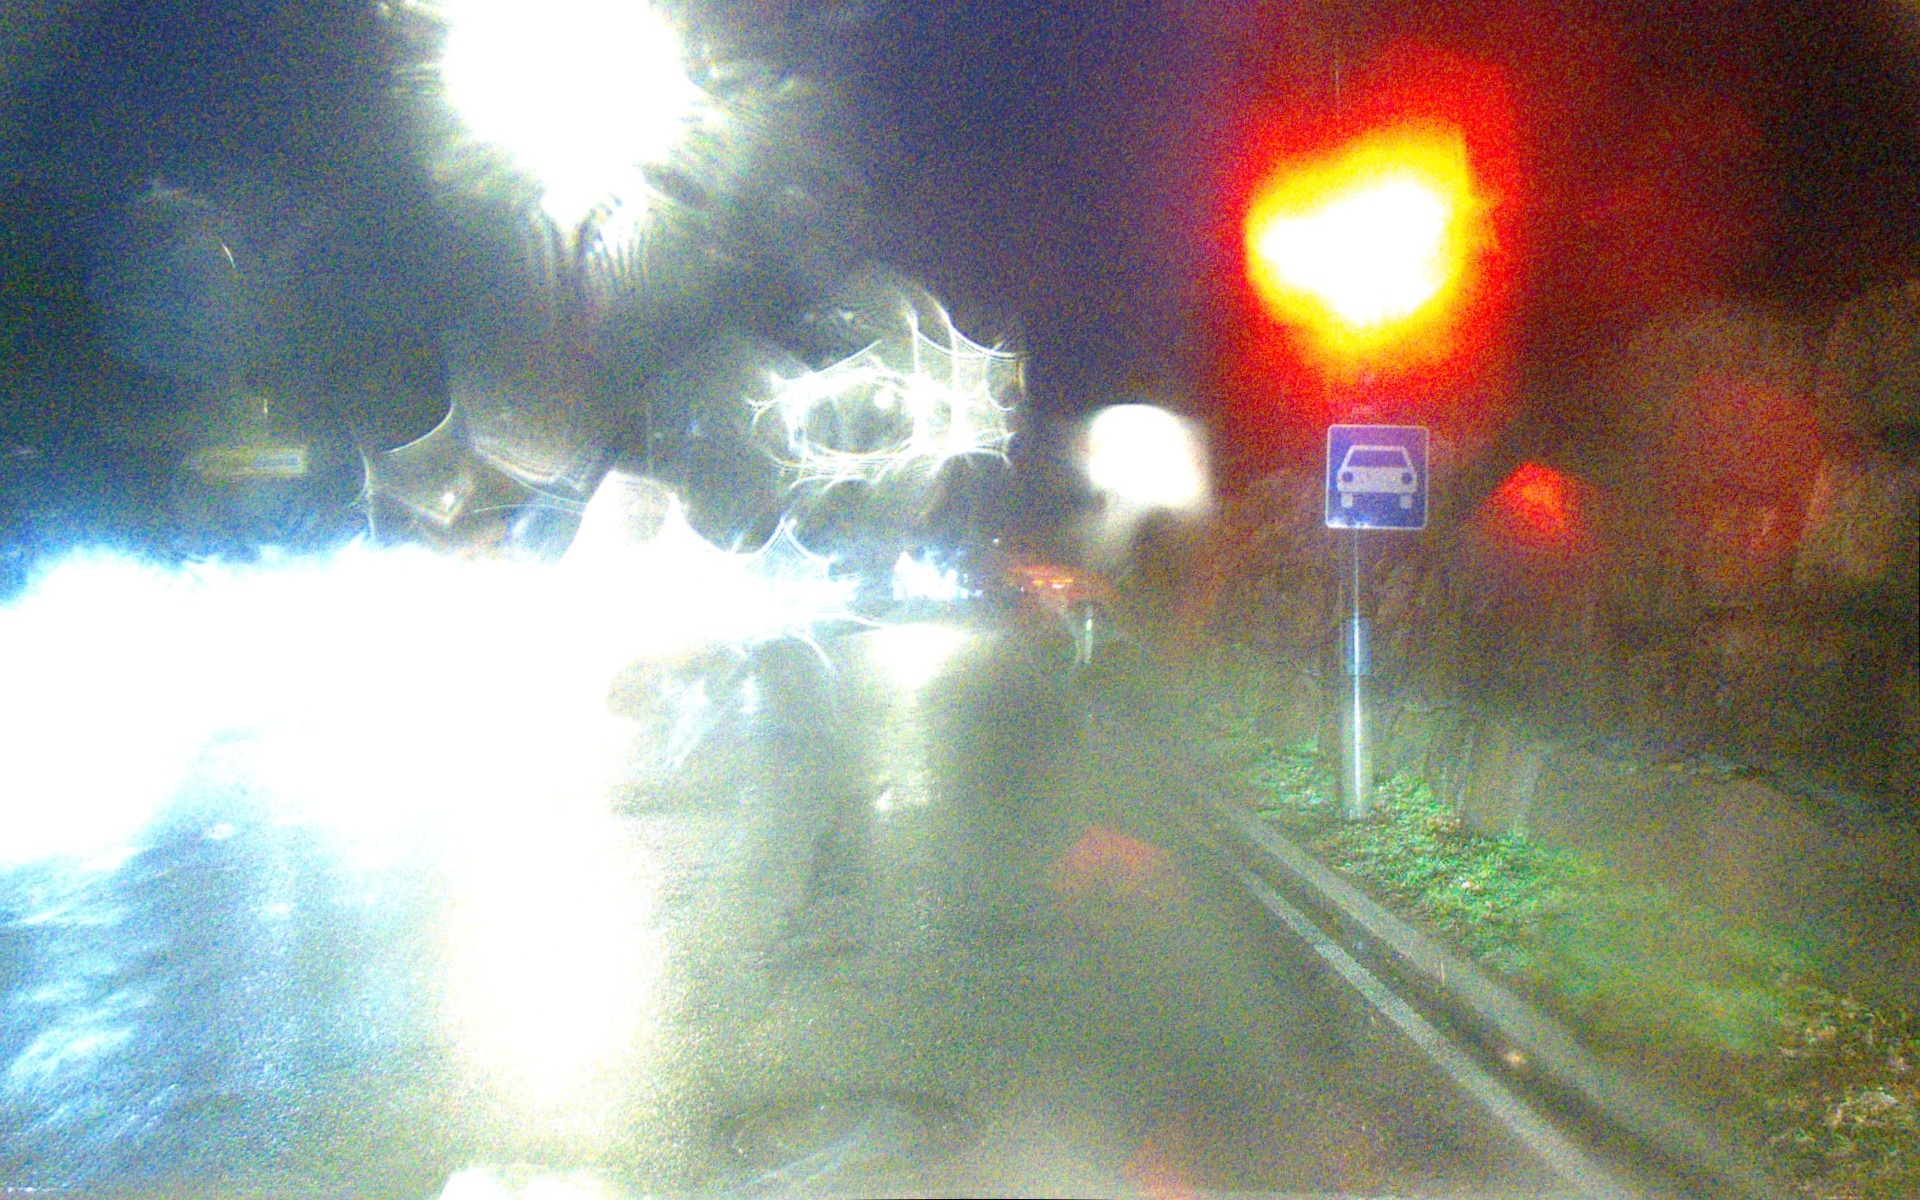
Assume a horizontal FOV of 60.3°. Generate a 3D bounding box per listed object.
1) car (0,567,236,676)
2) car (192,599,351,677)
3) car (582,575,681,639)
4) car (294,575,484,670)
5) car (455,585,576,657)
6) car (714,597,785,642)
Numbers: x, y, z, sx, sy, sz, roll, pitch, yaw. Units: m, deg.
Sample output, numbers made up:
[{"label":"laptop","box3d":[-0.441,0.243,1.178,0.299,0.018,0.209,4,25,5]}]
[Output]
[{"label":"car","box3d":[-13.664,0.303,26.766,1.755,1.599,4.913,0,0,-1]},{"label":"car","box3d":[-13.822,0.755,33.434,1.634,1.479,3.727,0,-1,0]},{"label":"car","box3d":[-9.287,0.199,47.098,1.681,1.733,4.145,0,-1,5]},{"label":"car","box3d":[-10.242,0.372,30.058,1.663,1.599,4.713,0,0,2]},{"label":"car","box3d":[-9.940,0.472,37.203,1.552,1.552,3.653,0,-1,3]},{"label":"car","box3d":[-7.603,0.716,60.235,1.672,1.561,4.602,0,-1,4]}]
